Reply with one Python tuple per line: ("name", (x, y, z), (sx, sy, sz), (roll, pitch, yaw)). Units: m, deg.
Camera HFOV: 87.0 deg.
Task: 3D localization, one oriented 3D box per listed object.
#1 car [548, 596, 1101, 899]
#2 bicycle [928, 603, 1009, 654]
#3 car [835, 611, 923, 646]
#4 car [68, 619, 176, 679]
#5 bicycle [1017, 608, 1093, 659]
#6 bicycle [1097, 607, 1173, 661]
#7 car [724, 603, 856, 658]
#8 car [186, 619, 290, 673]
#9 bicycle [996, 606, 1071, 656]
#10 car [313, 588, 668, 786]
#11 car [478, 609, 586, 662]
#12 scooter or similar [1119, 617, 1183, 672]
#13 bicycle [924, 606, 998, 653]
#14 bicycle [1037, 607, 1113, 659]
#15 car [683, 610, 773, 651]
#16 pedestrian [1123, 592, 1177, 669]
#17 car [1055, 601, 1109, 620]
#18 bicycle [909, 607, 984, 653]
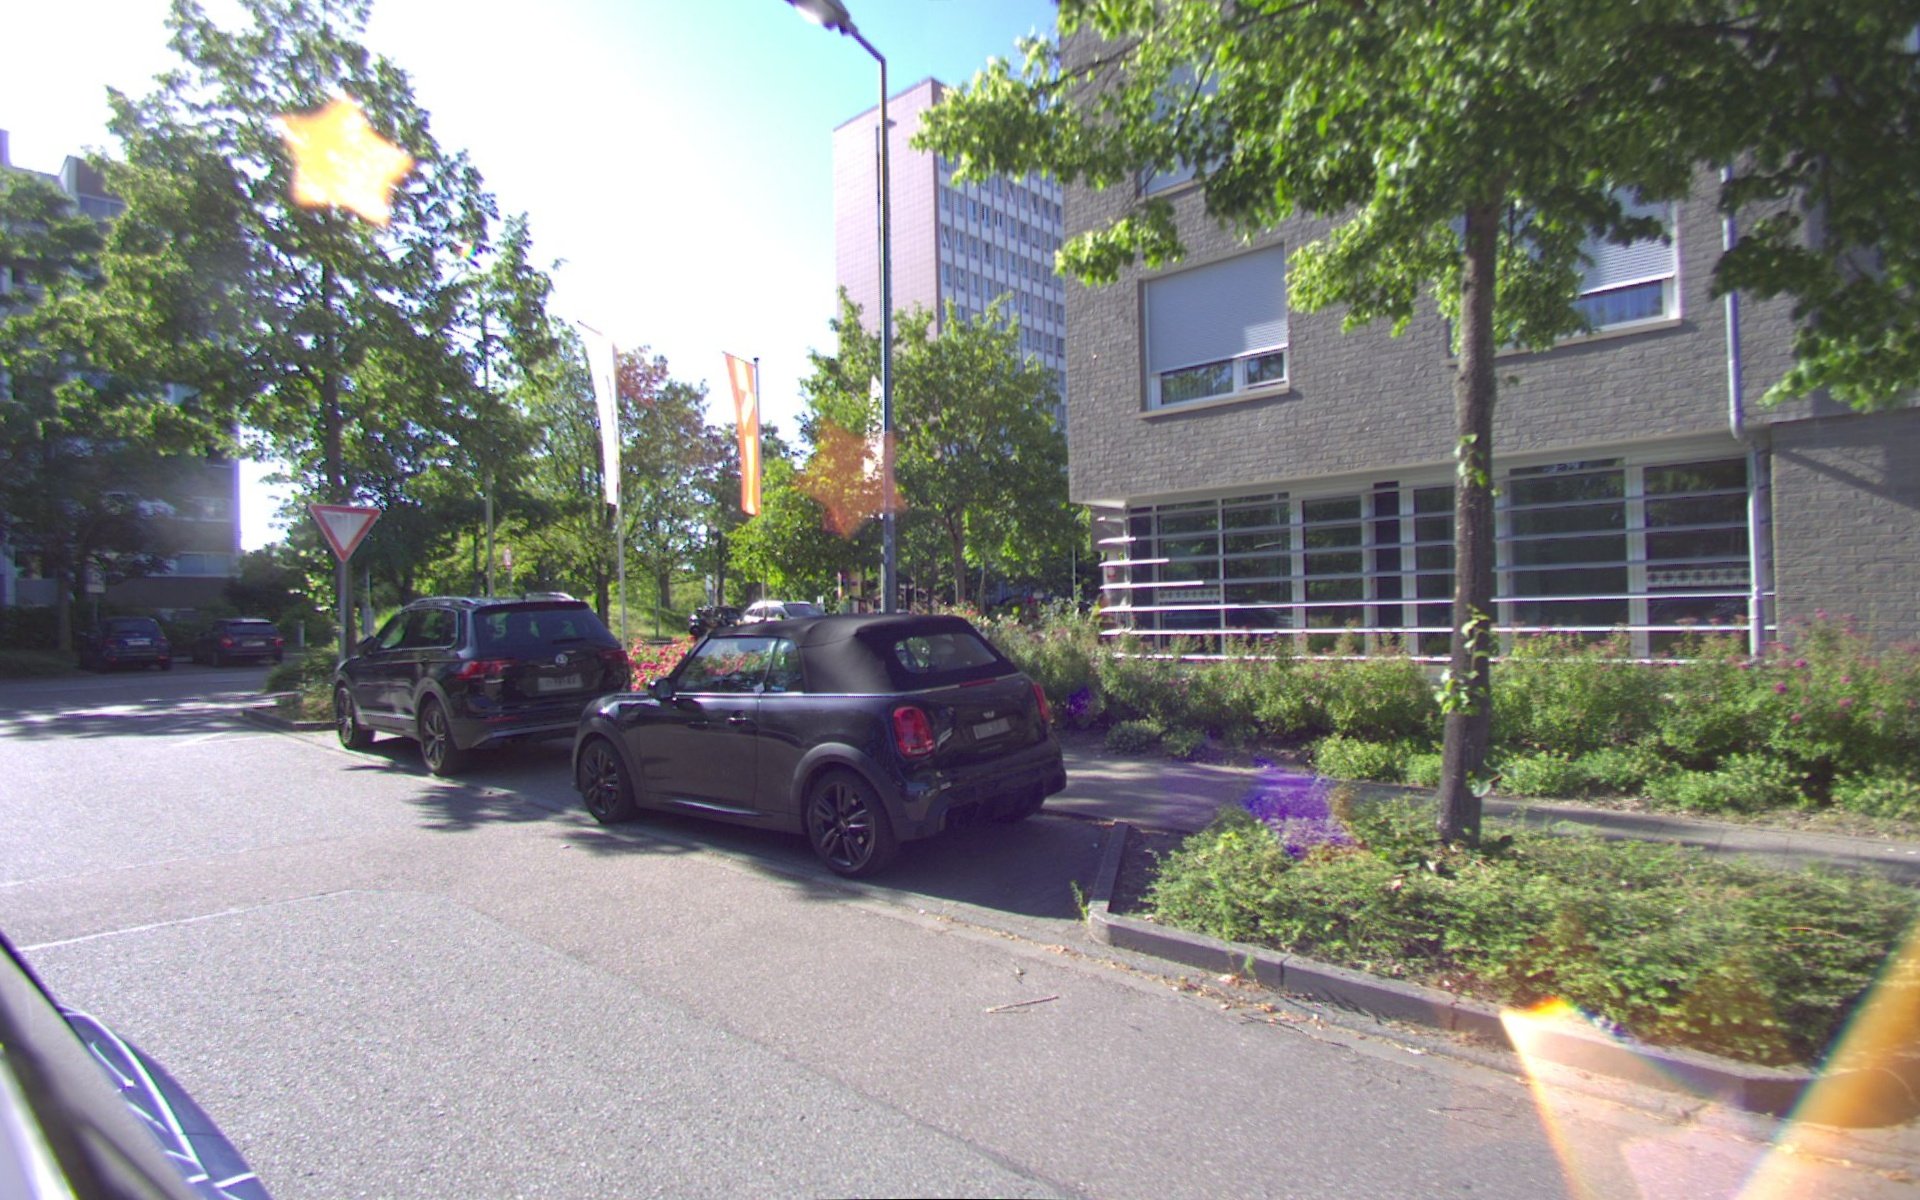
("car", (-1.084, 0.779, 6.885), (3.786, 1.515, 1.562), (-2, -1, 39))
("bicycle", (0.217, 0.617, 22.296), (0.438, 1.055, 2.162), (-4, -2, 42))
("car", (-4.111, 1.386, 50.821), (4.437, 1.605, 1.812), (0, 0, 40))
("car", (-23.836, 1.334, 28.748), (3.817, 1.510, 1.679), (0, 0, 39))
("bicycle", (2.123, 0.716, 22.319), (0.438, 1.055, 2.162), (-4, -2, 42))
("bicycle", (3.657, 0.687, 21.000), (0.438, 1.055, 2.162), (-4, -2, 42))
("car", (-5.201, 0.942, 30.660), (4.206, 1.531, 1.747), (-4, -2, 43))
("car", (-22.021, 1.339, 30.803), (4.000, 1.397, 1.797), (1, 1, 42))
("bicycle", (1.695, 0.691, 23.079), (0.438, 1.055, 2.162), (-4, -2, 42))
("car", (-5.108, 0.748, 10.720), (4.338, 1.631, 1.867), (-1, 1, 43))
("car", (-15.898, 1.250, 37.476), (4.602, 1.792, 1.972), (0, 0, 43))
("scooter or similar", (3.515, 0.808, 18.584), (0.805, 0.961, 0.856), (-4, -2, 41))
("bicycle", (0.053, 0.695, 24.519), (0.438, 1.055, 2.162), (-4, -2, 42))
("bicycle", (2.517, 0.702, 21.953), (0.438, 1.055, 2.162), (-4, -2, 42))
("car", (-10.104, 1.275, 43.977), (4.129, 1.630, 1.710), (0, 1, 41))
("pedestrian", (3.488, 0.545, 18.592), (0.670, 1.371, 0.734), (-2, -1, 43))
("car", (11.321, 0.999, 93.996), (4.725, 1.699, 1.851), (-2, -1, 38))
("bicycle", (-0.307, 0.716, 24.842), (0.438, 1.055, 2.162), (-4, -2, 42))
